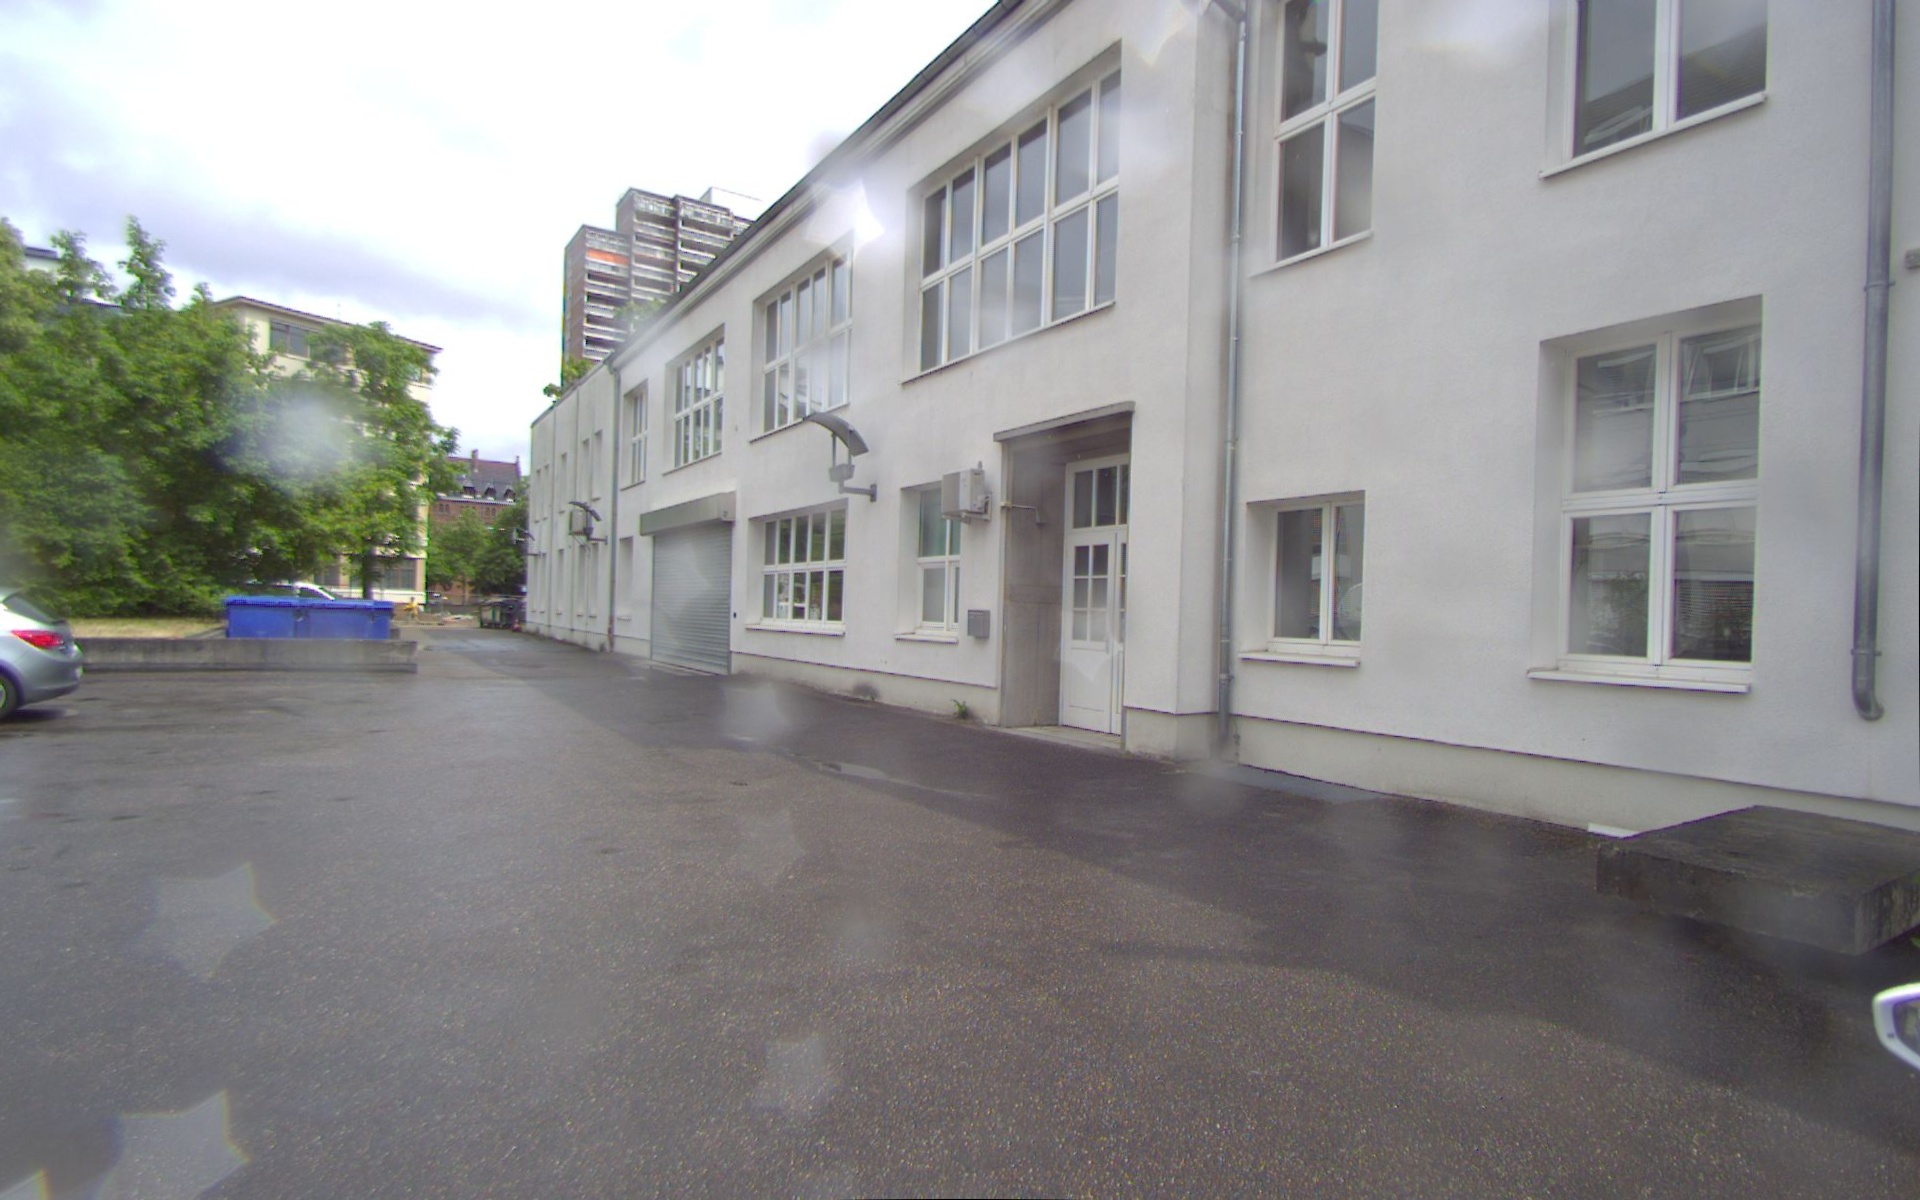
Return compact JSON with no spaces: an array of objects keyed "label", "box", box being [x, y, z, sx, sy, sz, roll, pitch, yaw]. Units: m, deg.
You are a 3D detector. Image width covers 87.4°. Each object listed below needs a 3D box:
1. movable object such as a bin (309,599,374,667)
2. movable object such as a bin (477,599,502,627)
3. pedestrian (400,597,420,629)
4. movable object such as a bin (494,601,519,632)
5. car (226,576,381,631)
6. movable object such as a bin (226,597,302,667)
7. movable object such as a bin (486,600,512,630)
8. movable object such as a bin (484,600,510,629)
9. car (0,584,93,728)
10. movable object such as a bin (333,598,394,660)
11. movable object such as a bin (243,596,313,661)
[{"label":"movable object such as a bin","box":[-12.884,0.672,20.962,1.082,1.343,1.199,1,0,-29]},{"label":"movable object such as a bin","box":[-24.234,0.661,51.704,1.053,1.374,1.255,1,0,-29]},{"label":"pedestrian","box":[-31.946,0.745,58.320,0.853,1.838,0.854,1,0,-37]},{"label":"movable object such as a bin","box":[-21.059,0.762,46.596,0.967,1.374,0.912,1,0,-29]},{"label":"car","box":[-22.626,0.144,34.830,4.280,1.750,1.710,2,0,-28]},{"label":"movable object such as a bin","box":[-14.005,0.632,20.259,1.118,1.346,1.199,1,0,-29]},{"label":"movable object such as a bin","box":[-21.980,0.733,47.890,1.033,1.374,1.198,1,0,-29]},{"label":"movable object such as a bin","box":[-22.694,0.710,49.212,1.050,1.374,1.209,1,0,-29]},{"label":"car","box":[-11.602,0.497,10.068,4.280,1.461,1.743,4,-1,-39]},{"label":"movable object such as a bin","box":[-13.453,0.641,22.686,1.118,1.346,1.199,1,0,-29]},{"label":"movable object such as a bin","box":[-14.744,0.608,21.755,1.118,1.346,1.199,1,0,-29]}]
